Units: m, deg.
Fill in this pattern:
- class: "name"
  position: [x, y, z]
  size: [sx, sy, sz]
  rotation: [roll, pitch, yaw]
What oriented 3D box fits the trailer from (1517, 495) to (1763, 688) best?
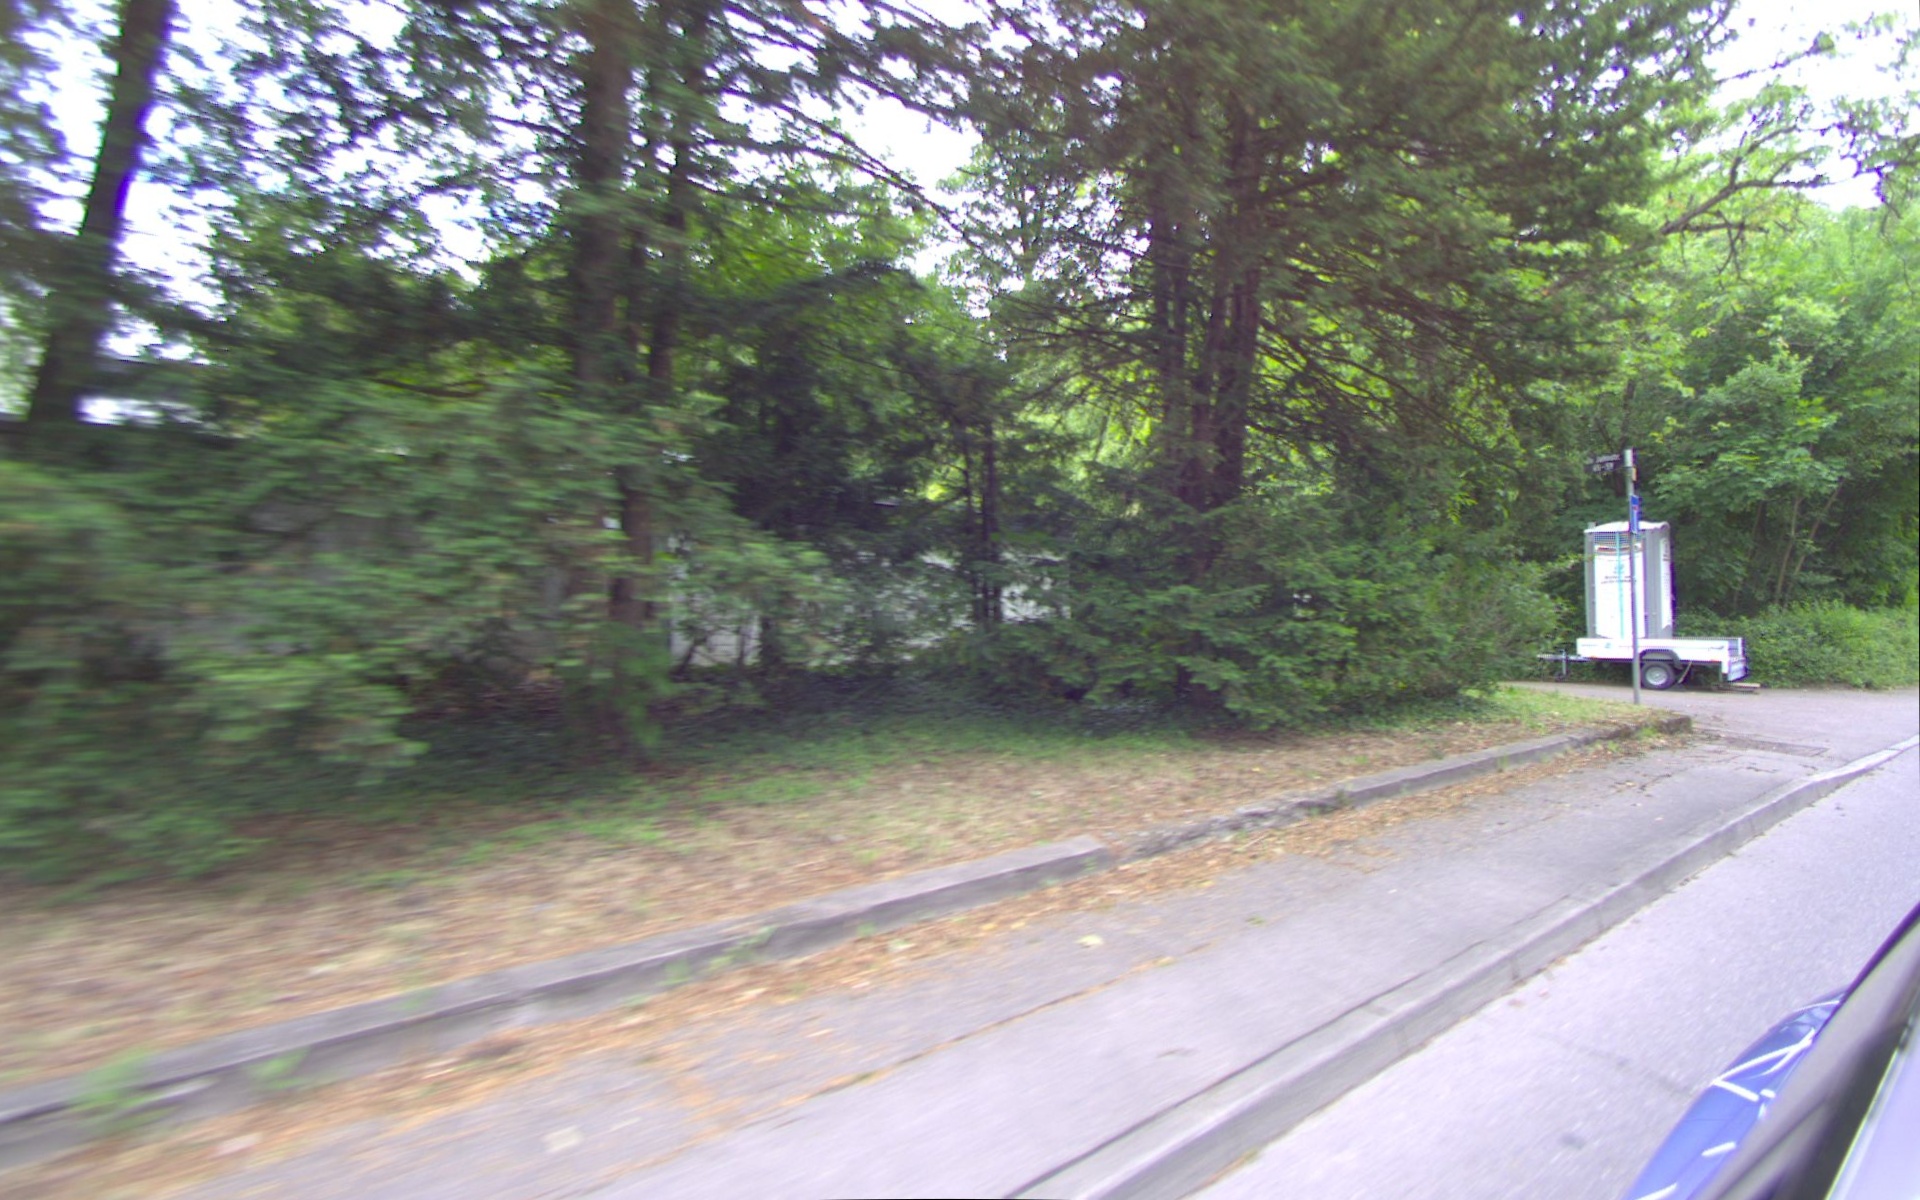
- class: "trailer"
  position: [11.438, -0.130, 17.143]
  size: [1.564, 2.936, 3.123]
  rotation: [0, 0, -39]
